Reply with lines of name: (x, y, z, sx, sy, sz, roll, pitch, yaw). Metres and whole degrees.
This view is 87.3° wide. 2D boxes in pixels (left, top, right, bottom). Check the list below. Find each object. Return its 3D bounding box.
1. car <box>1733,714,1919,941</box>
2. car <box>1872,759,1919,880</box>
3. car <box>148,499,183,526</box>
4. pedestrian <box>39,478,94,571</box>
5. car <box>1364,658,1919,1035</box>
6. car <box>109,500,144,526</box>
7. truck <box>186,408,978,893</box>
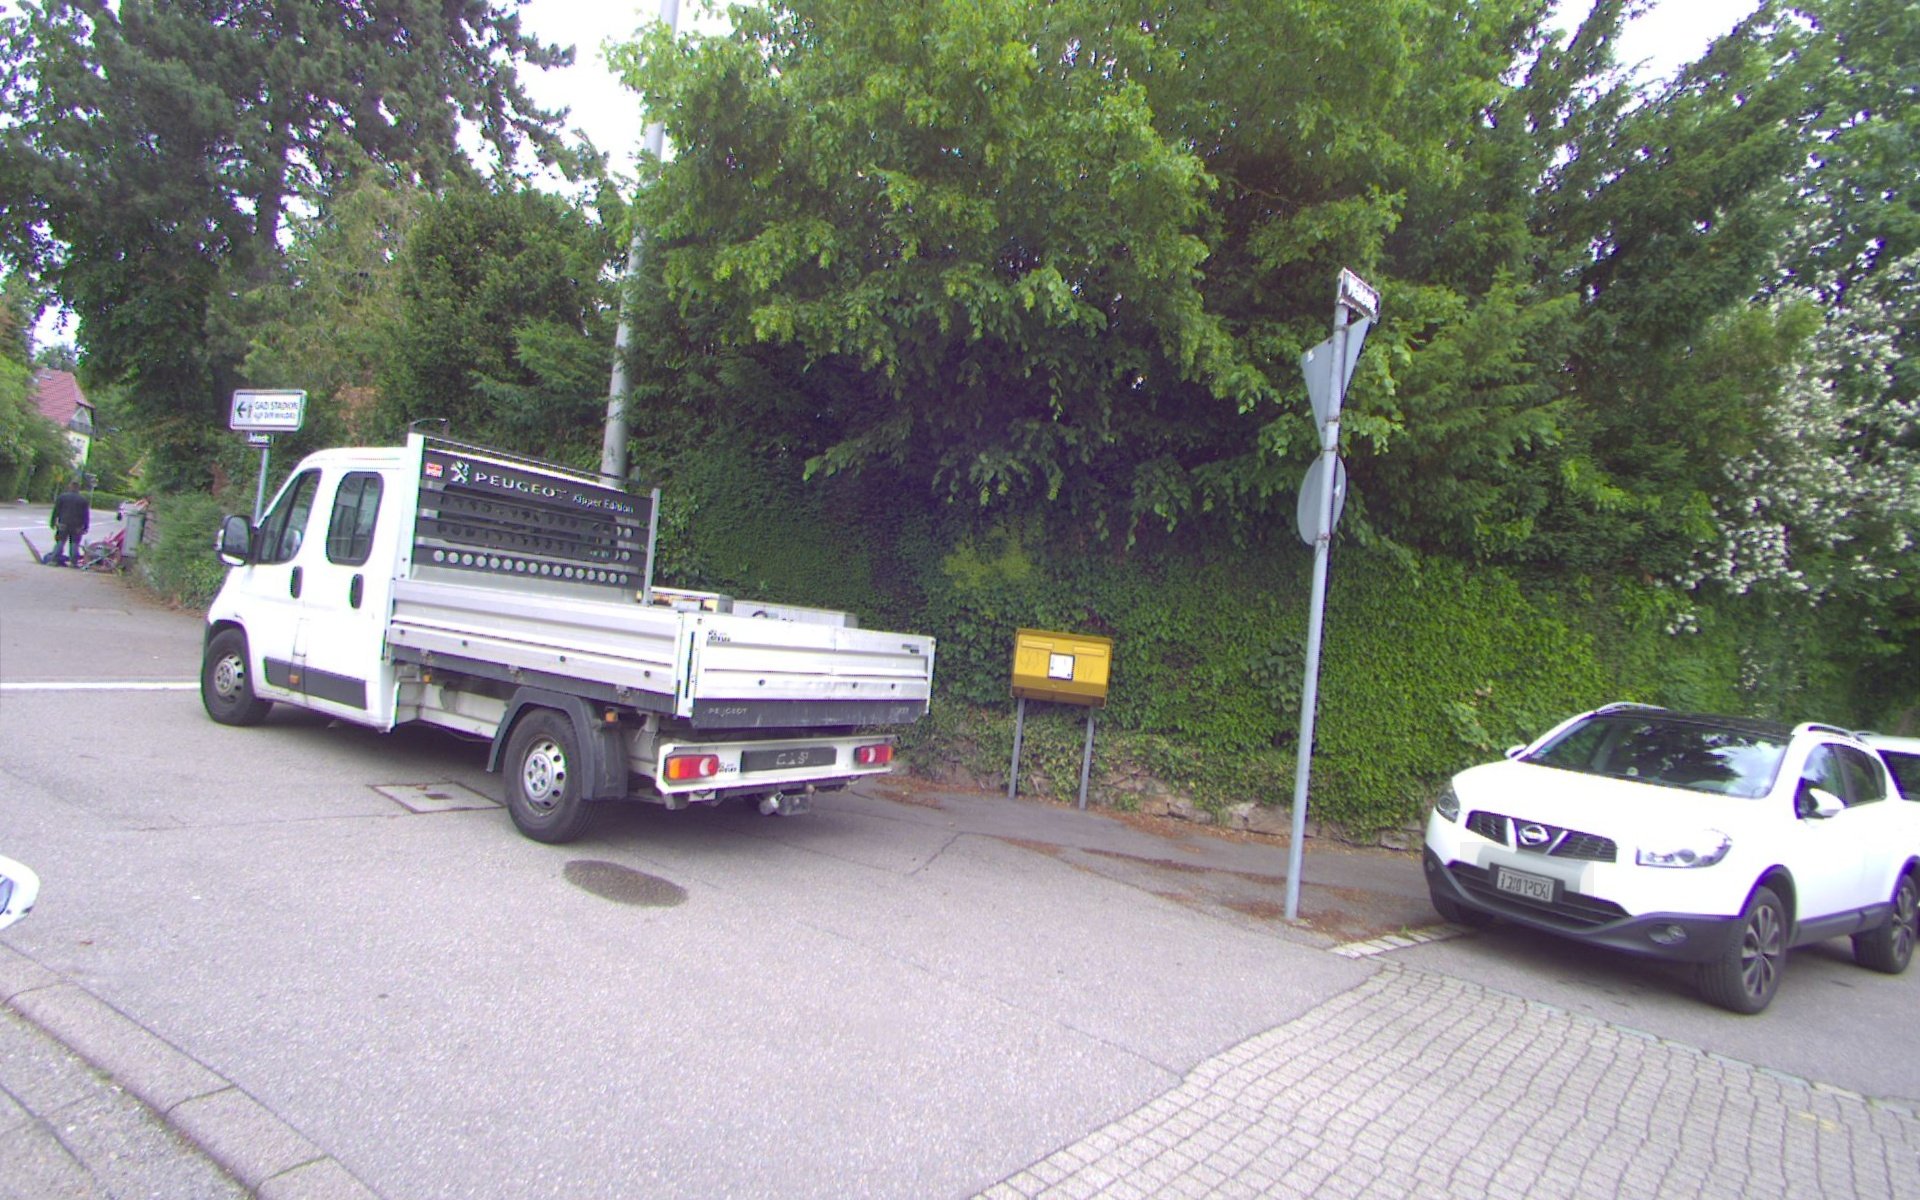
car: (9.039, 2.117, 9.472, 4.041, 1.641, 1.781, 9, -3, -38)
car: (13.847, 3.024, 13.435, 4.040, 1.440, 1.781, 8, -2, -38)
car: (-73.485, -8.108, 93.097, 1.982, 2.037, 3.964, 8, -2, -34)
pedestrian: (-19.648, -1.654, 22.119, 0.549, 1.929, 0.597, 7, -1, 32)
car: (4.760, 1.471, 6.659, 4.098, 1.641, 1.783, 9, -2, -34)
car: (-66.790, -6.968, 80.649, 1.798, 1.775, 4.441, 7, 0, -37)
truck: (-2.940, 0.085, 7.164, 5.631, 2.270, 2.211, 6, -2, 34)
